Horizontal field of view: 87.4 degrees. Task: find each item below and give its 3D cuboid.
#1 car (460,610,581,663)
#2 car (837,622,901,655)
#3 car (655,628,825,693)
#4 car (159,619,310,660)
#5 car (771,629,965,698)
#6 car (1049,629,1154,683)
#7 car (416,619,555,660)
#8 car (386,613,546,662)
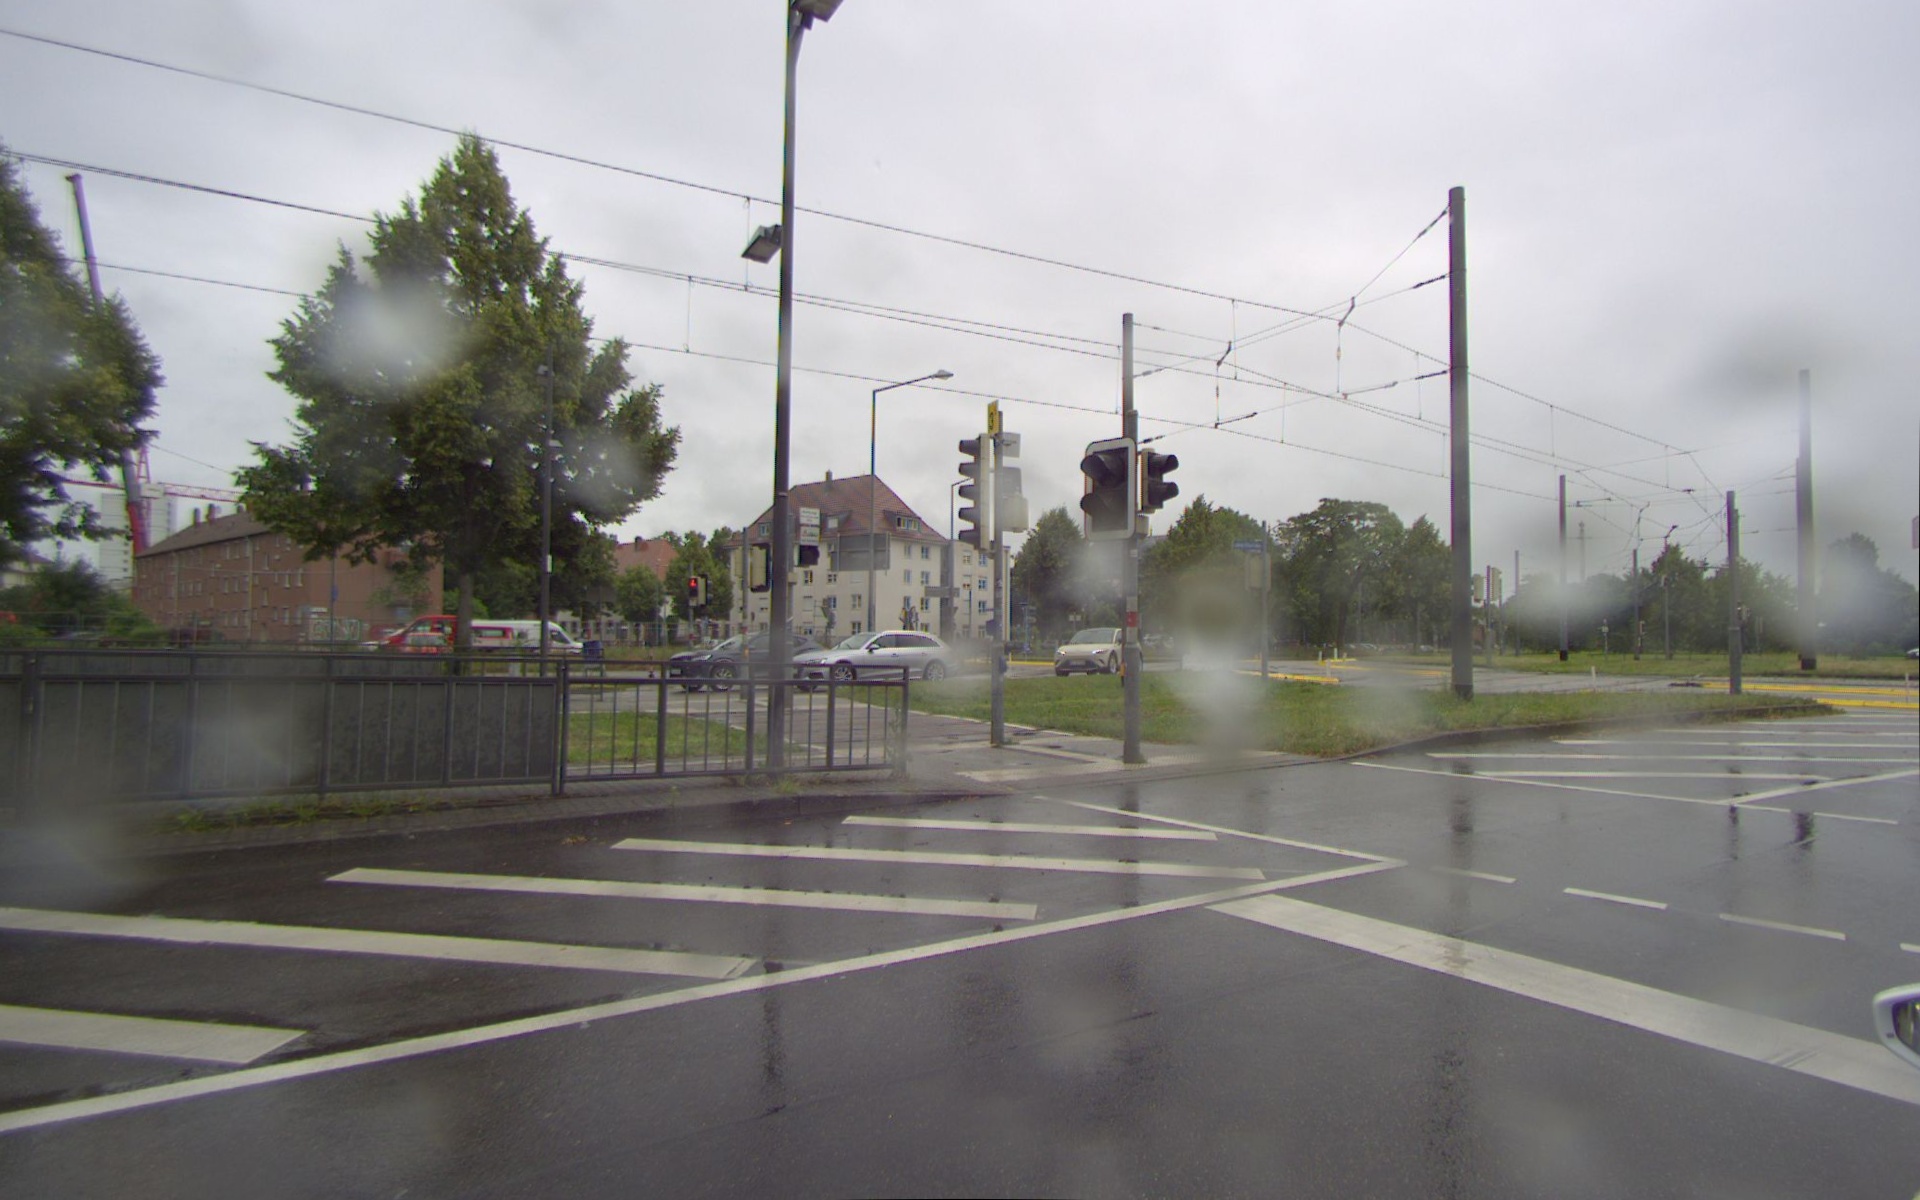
[{"bbox_3d":[-26.074,2.160,59.849,6.329,2.978,2.346,2,0,-20],"label":"car"},{"bbox_3d":[-7.194,3.004,78.835,4.759,2.358,1.995,2,0,33],"label":"car"},{"bbox_3d":[-5.729,1.545,26.393,3.967,1.506,1.810,2,0,-40],"label":"car"},{"bbox_3d":[-39.432,2.115,54.747,2.325,2.040,6.388,2,0,44],"label":"car"},{"bbox_3d":[-2.236,1.536,25.140,4.587,1.506,1.811,2,0,-39],"label":"car"},{"bbox_3d":[4.597,1.741,32.159,1.819,1.506,4.217,2,0,31],"label":"car"},{"bbox_3d":[-24.875,2.081,52.985,6.329,2.040,2.347,1,-2,-20],"label":"car"},{"bbox_3d":[-22.693,1.727,46.476,6.329,2.040,2.346,2,0,-20],"label":"car"}]
